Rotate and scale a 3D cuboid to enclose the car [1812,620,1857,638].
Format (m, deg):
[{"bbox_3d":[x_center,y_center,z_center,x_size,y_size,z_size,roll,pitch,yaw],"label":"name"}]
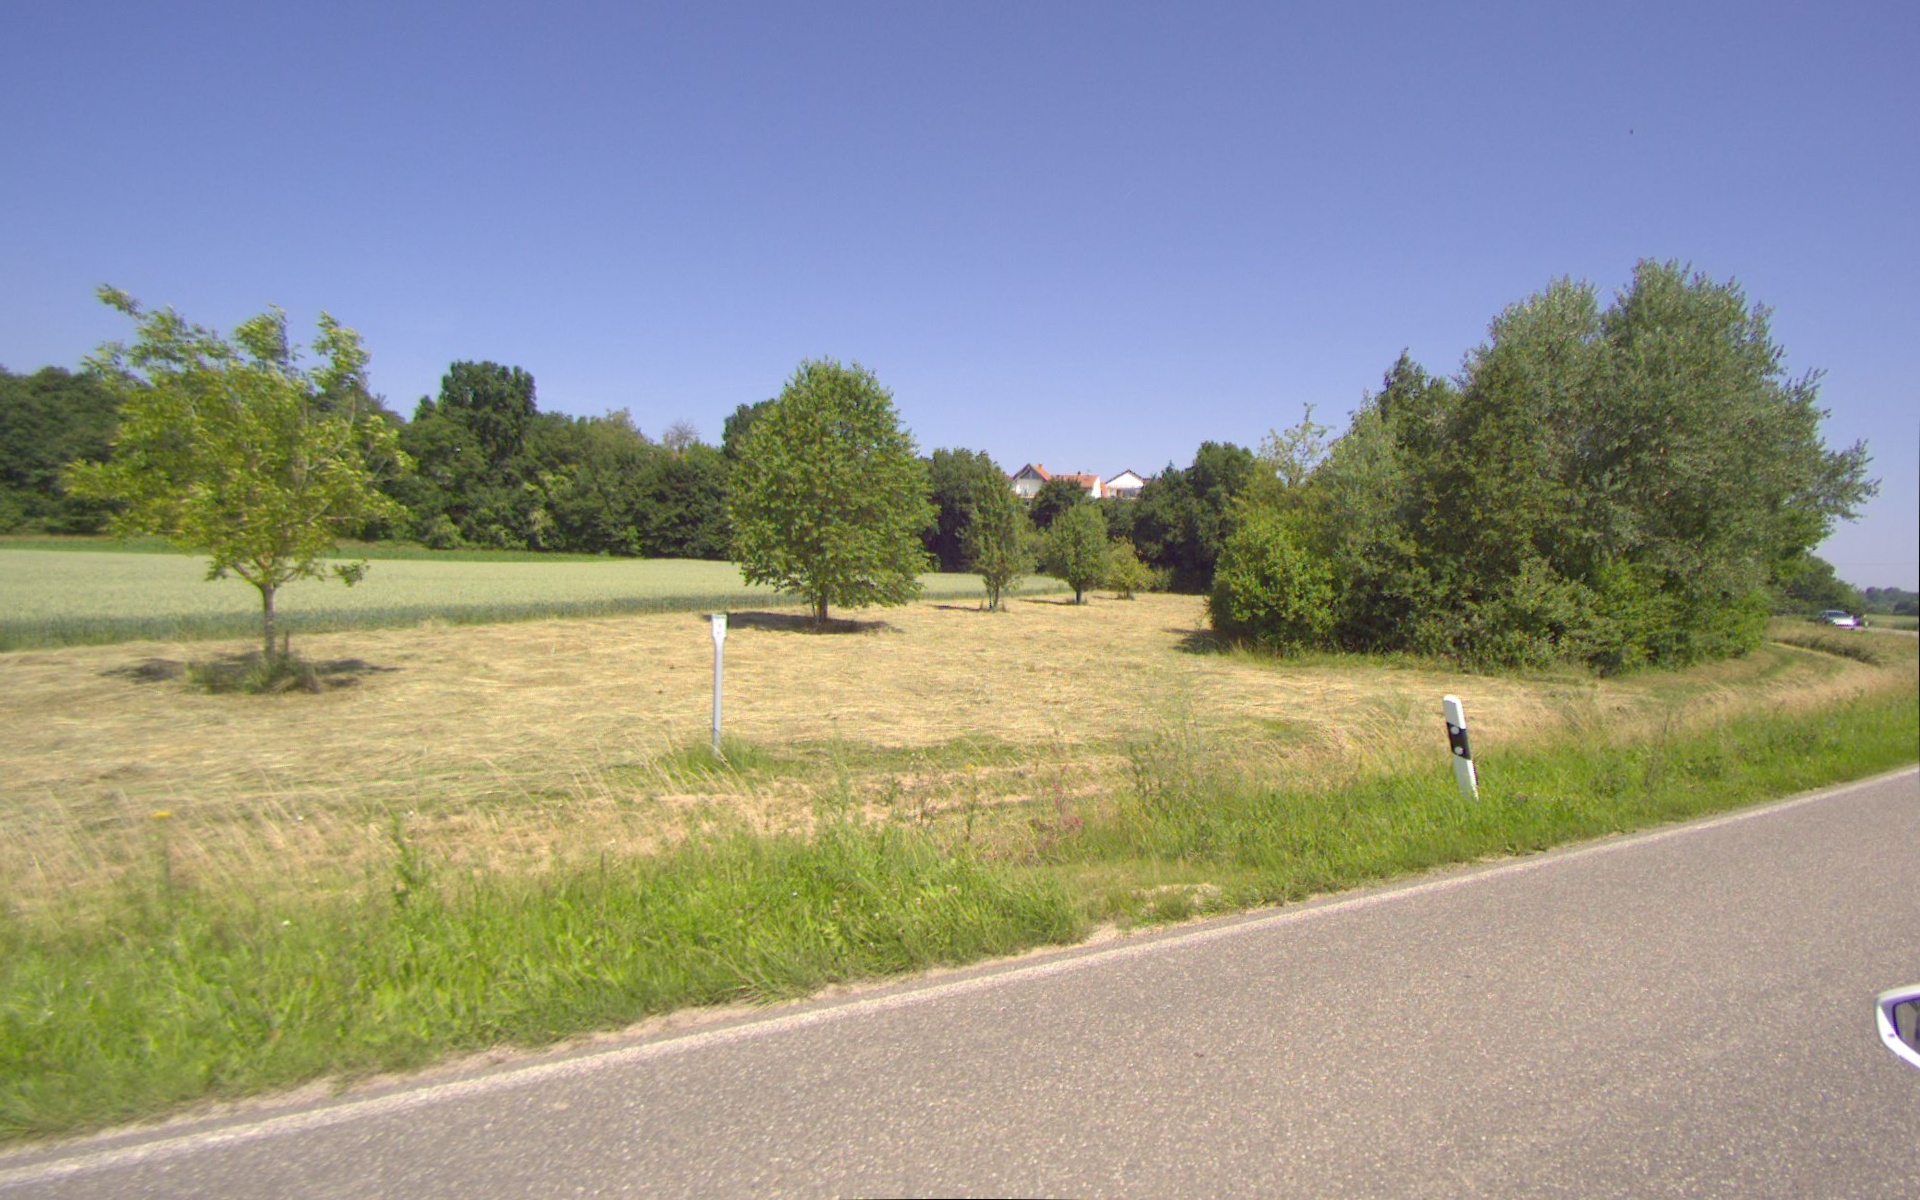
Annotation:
[{"bbox_3d":[70.447,2.327,80.959,1.756,1.446,4.054,-1,-1,27],"label":"car"}]
